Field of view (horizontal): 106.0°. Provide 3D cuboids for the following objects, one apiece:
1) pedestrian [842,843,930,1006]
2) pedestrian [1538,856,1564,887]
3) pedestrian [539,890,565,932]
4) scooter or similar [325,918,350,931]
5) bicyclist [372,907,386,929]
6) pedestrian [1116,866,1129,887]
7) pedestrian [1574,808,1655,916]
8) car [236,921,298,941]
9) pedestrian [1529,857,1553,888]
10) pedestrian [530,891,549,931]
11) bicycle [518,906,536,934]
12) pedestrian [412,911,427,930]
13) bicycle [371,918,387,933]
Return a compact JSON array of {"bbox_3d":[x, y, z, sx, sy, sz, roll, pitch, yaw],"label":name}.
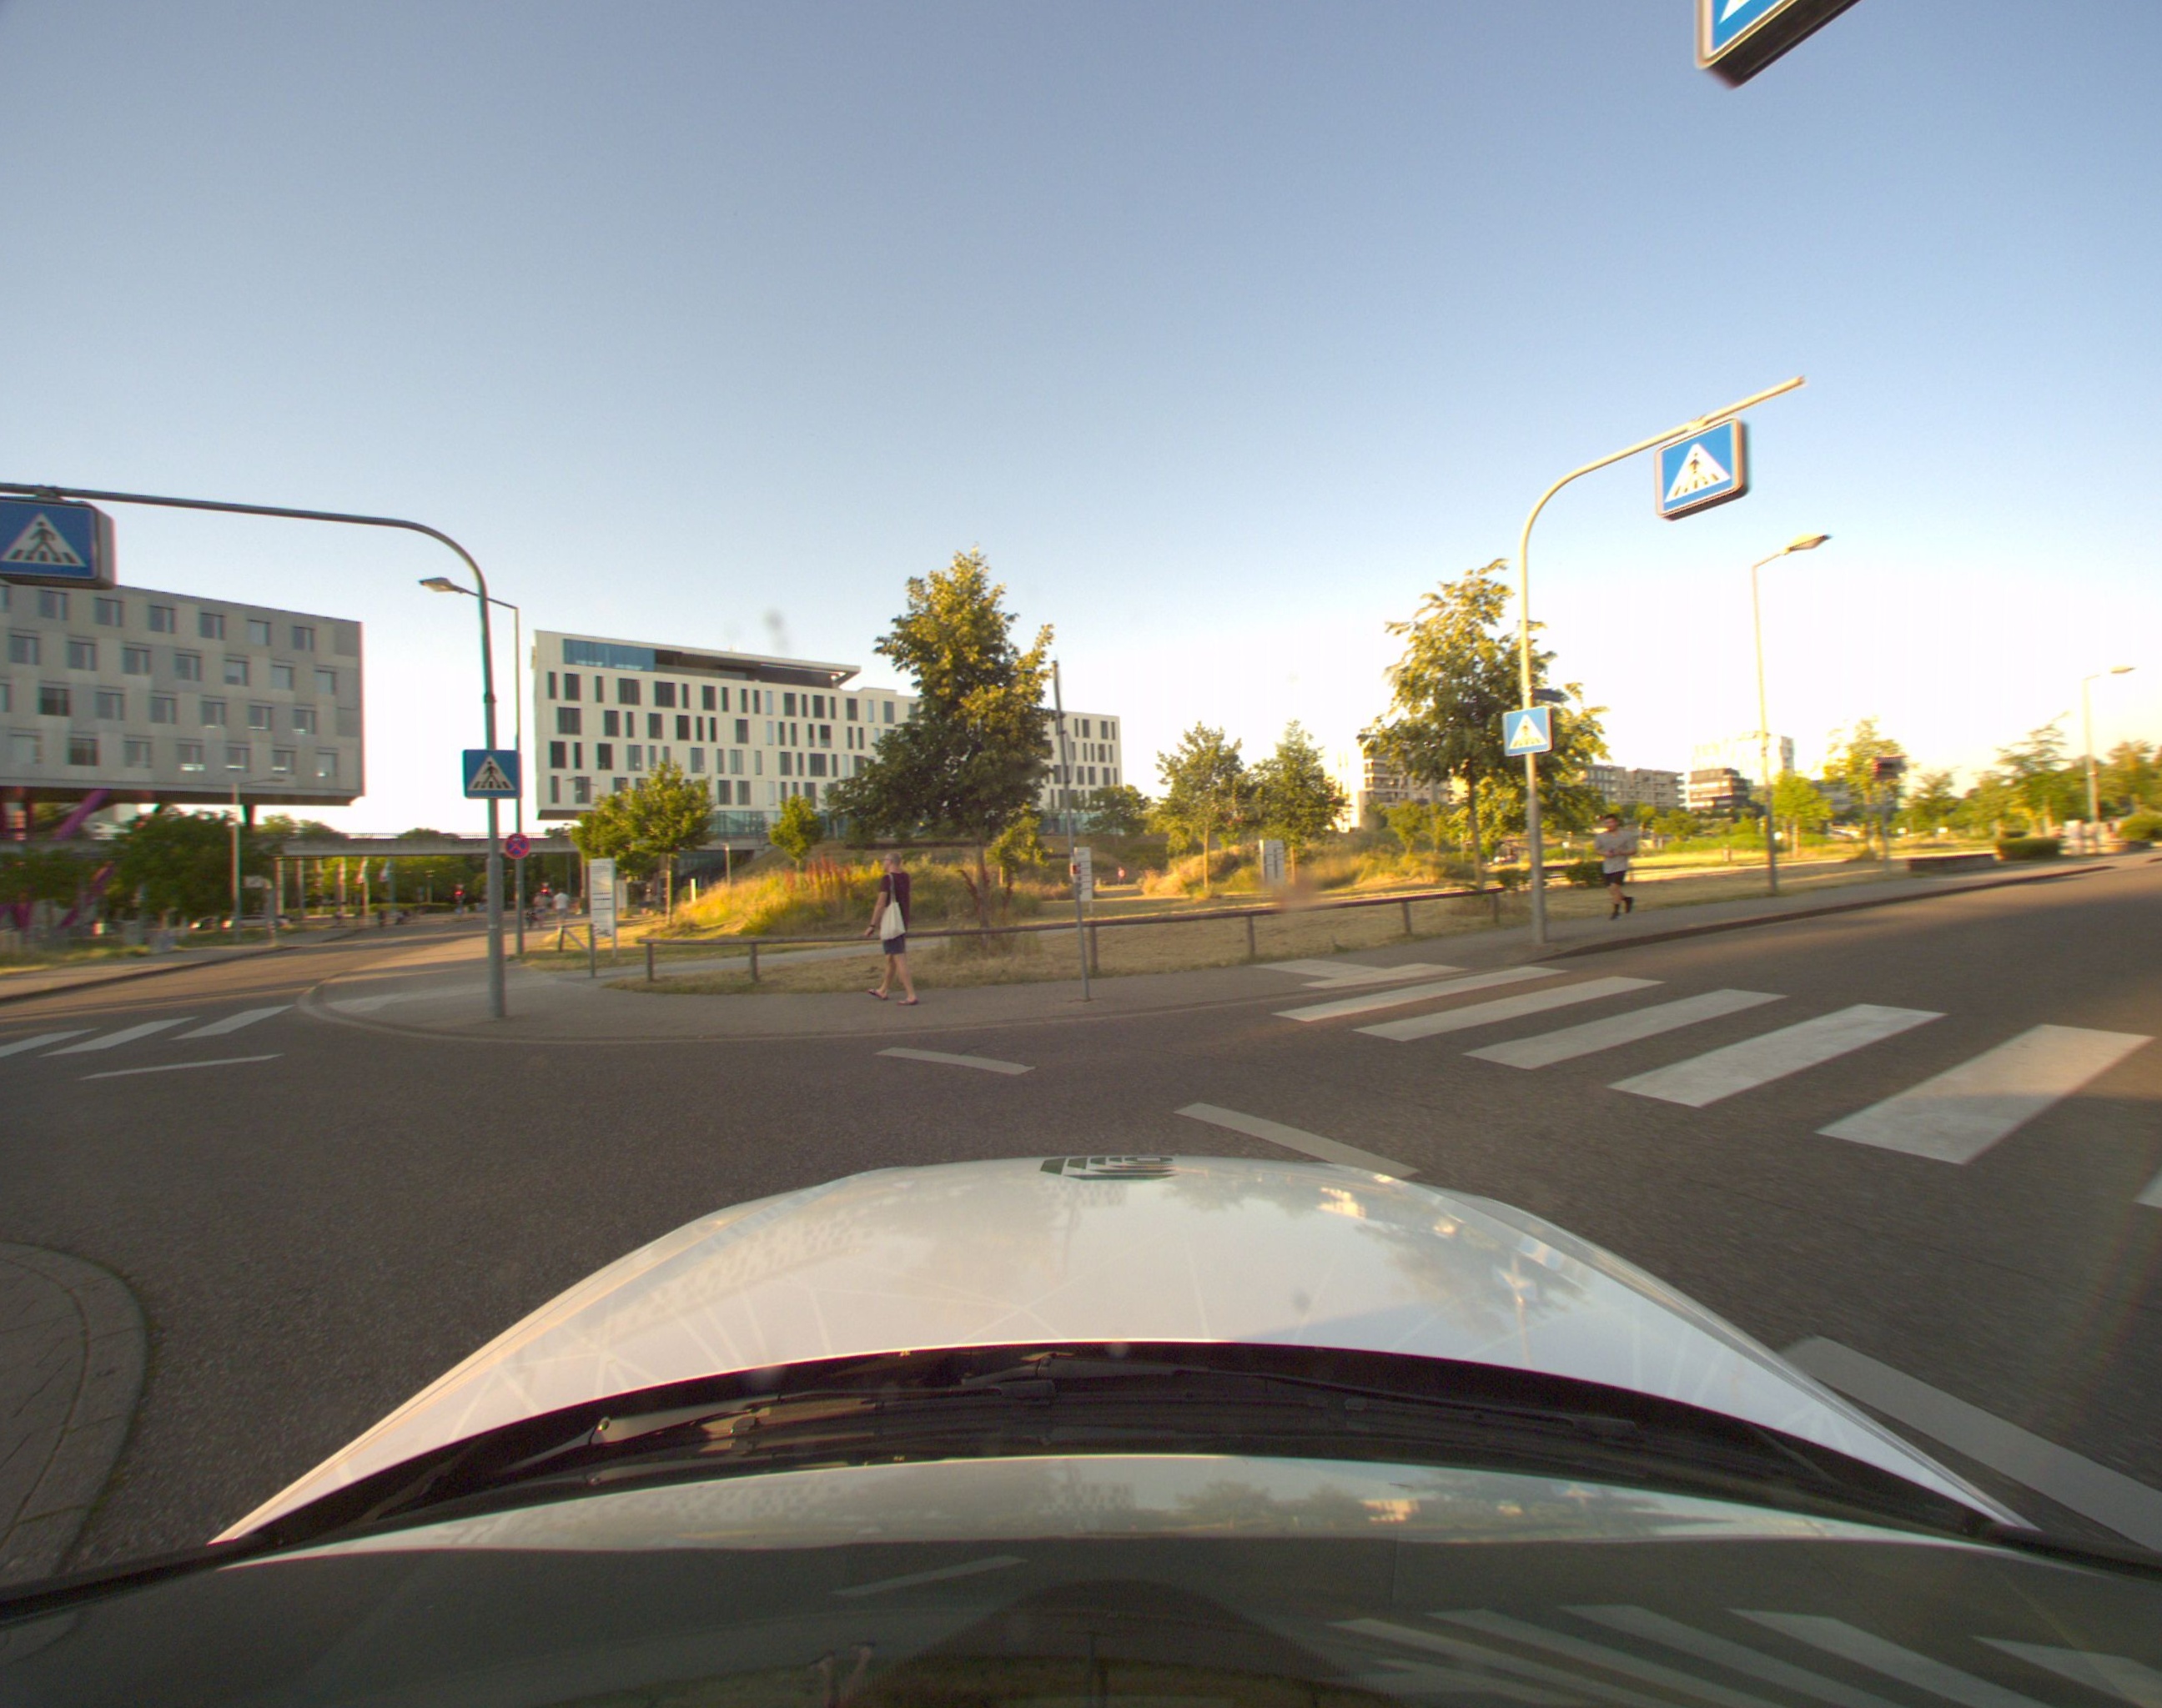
[{"bbox_3d":[-2.287,0.788,9.526,0.737,1.784,0.793,-1,-1,-32],"label":"pedestrian"},{"bbox_3d":[15.725,0.595,27.247,0.573,1.005,0.494,-1,-1,-35],"label":"pedestrian"},{"bbox_3d":[-23.265,2.505,35.828,0.836,1.766,0.810,-2,-1,-28],"label":"pedestrian"},{"bbox_3d":[-76.233,7.185,83.456,1.876,1.174,0.754,-1,-1,-43],"label":"scooter or similar"},{"bbox_3d":[-54.432,4.965,63.119,0.618,1.662,1.026,-2,-1,-30],"label":"bicyclist"},{"bbox_3d":[3.718,2.000,72.699,0.820,1.766,0.826,-2,-1,-27],"label":"pedestrian"},{"bbox_3d":[8.869,0.122,13.548,0.803,1.730,0.761,-2,-1,-26],"label":"pedestrian"},{"bbox_3d":[-87.943,8.343,88.067,4.448,1.724,1.814,-2,-1,-37],"label":"car"},{"bbox_3d":[15.162,0.612,26.865,0.483,1.005,0.494,-1,-1,-35],"label":"pedestrian"},{"bbox_3d":[-25.128,2.637,37.821,0.598,1.802,0.810,-2,-1,-28],"label":"pedestrian"},{"bbox_3d":[-25.493,3.034,37.478,0.452,1.169,1.923,-2,-1,-29],"label":"bicycle"},{"bbox_3d":[-68.827,6.895,84.687,0.884,1.834,1.063,-3,-1,42],"label":"pedestrian"},{"bbox_3d":[-54.378,5.501,63.106,0.542,1.043,1.906,-2,-1,-30],"label":"bicycle"}]
